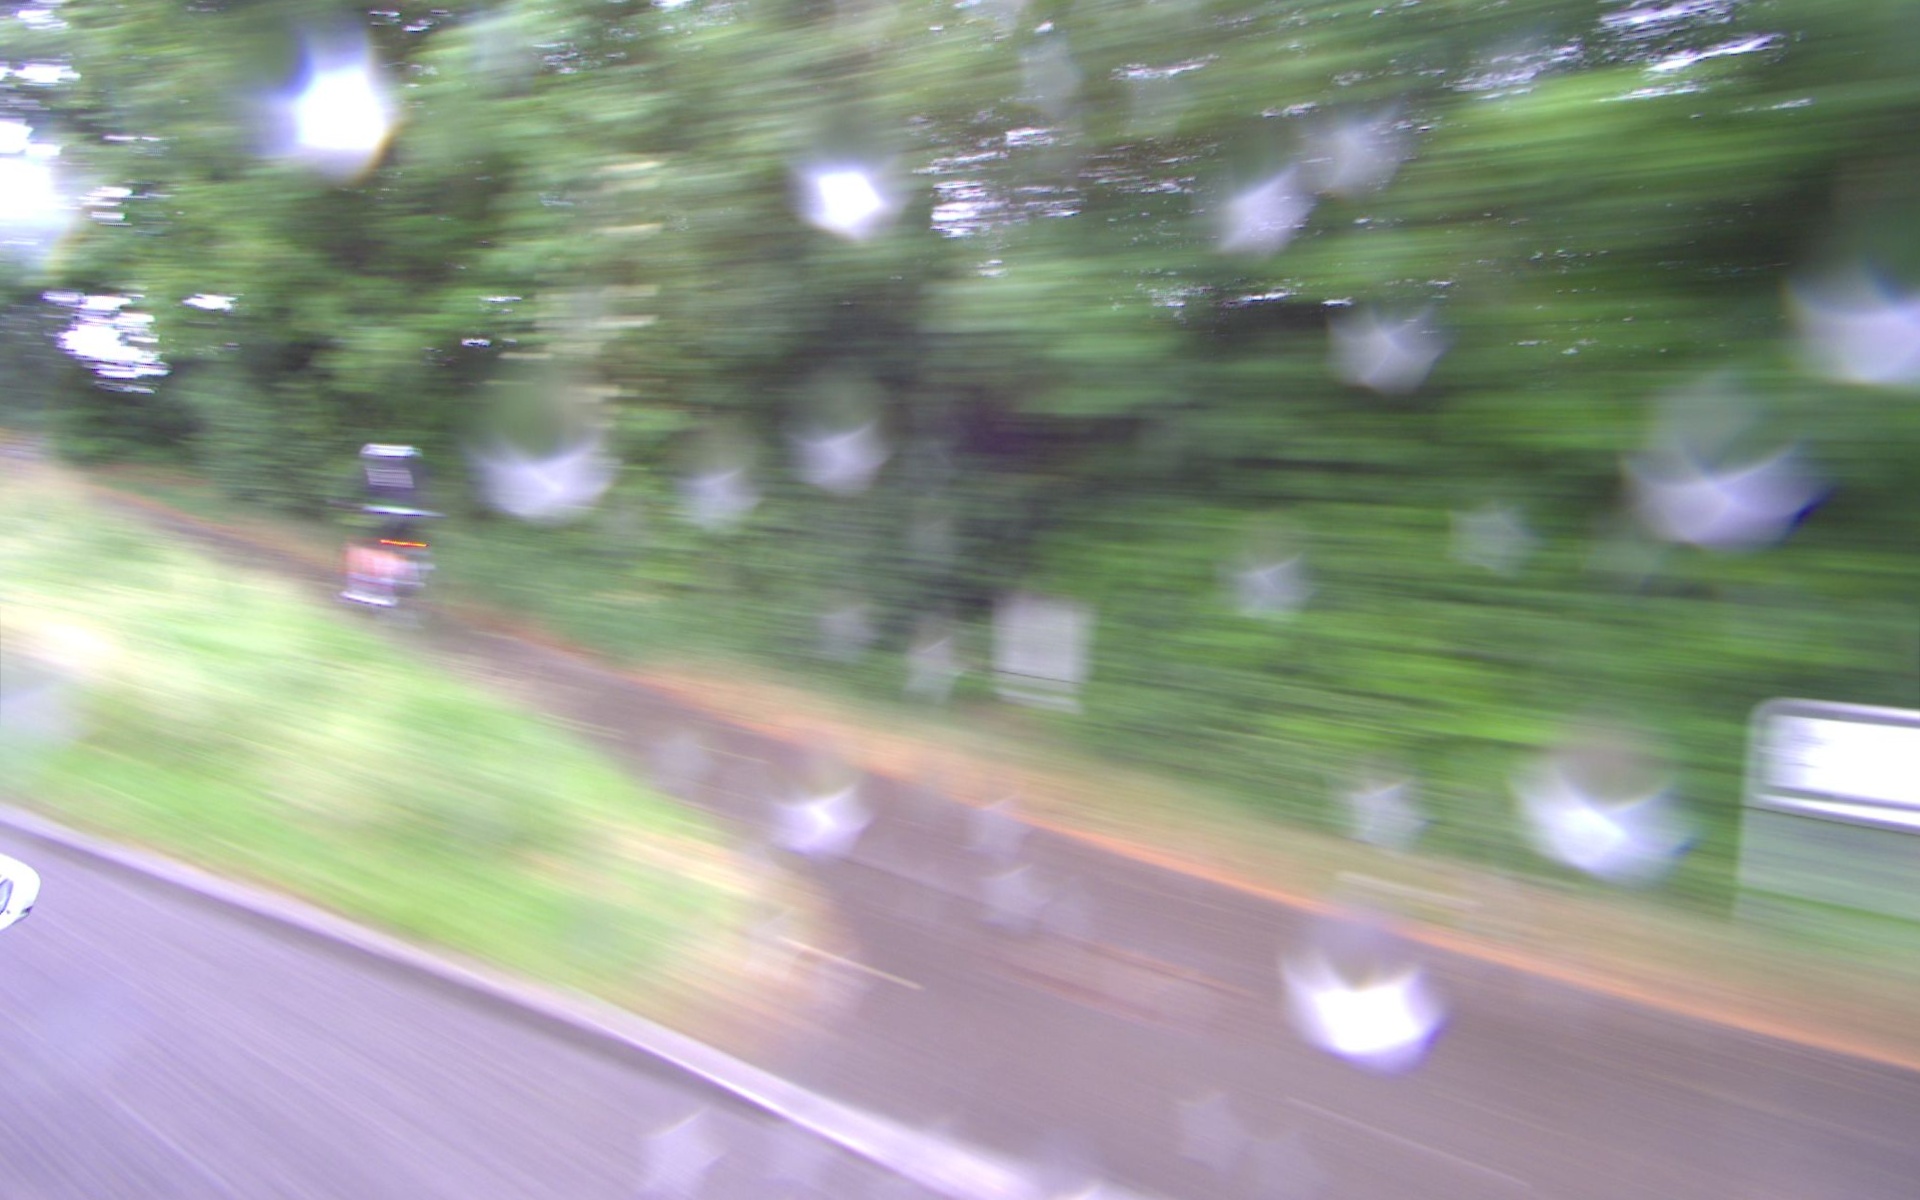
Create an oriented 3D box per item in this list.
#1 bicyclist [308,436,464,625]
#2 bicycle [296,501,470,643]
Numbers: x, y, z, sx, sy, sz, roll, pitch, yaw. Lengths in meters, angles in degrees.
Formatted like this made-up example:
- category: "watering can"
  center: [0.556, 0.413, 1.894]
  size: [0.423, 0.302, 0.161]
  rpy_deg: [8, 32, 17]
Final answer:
- category: "bicyclist"
  center: [-5.593, -0.657, 9.819]
  size: [0.889, 1.634, 0.722]
  rpy_deg: [11, 2, 24]
- category: "bicycle"
  center: [-5.662, -0.283, 9.851]
  size: [1.591, 1.098, 0.529]
  rpy_deg: [11, 2, 24]
